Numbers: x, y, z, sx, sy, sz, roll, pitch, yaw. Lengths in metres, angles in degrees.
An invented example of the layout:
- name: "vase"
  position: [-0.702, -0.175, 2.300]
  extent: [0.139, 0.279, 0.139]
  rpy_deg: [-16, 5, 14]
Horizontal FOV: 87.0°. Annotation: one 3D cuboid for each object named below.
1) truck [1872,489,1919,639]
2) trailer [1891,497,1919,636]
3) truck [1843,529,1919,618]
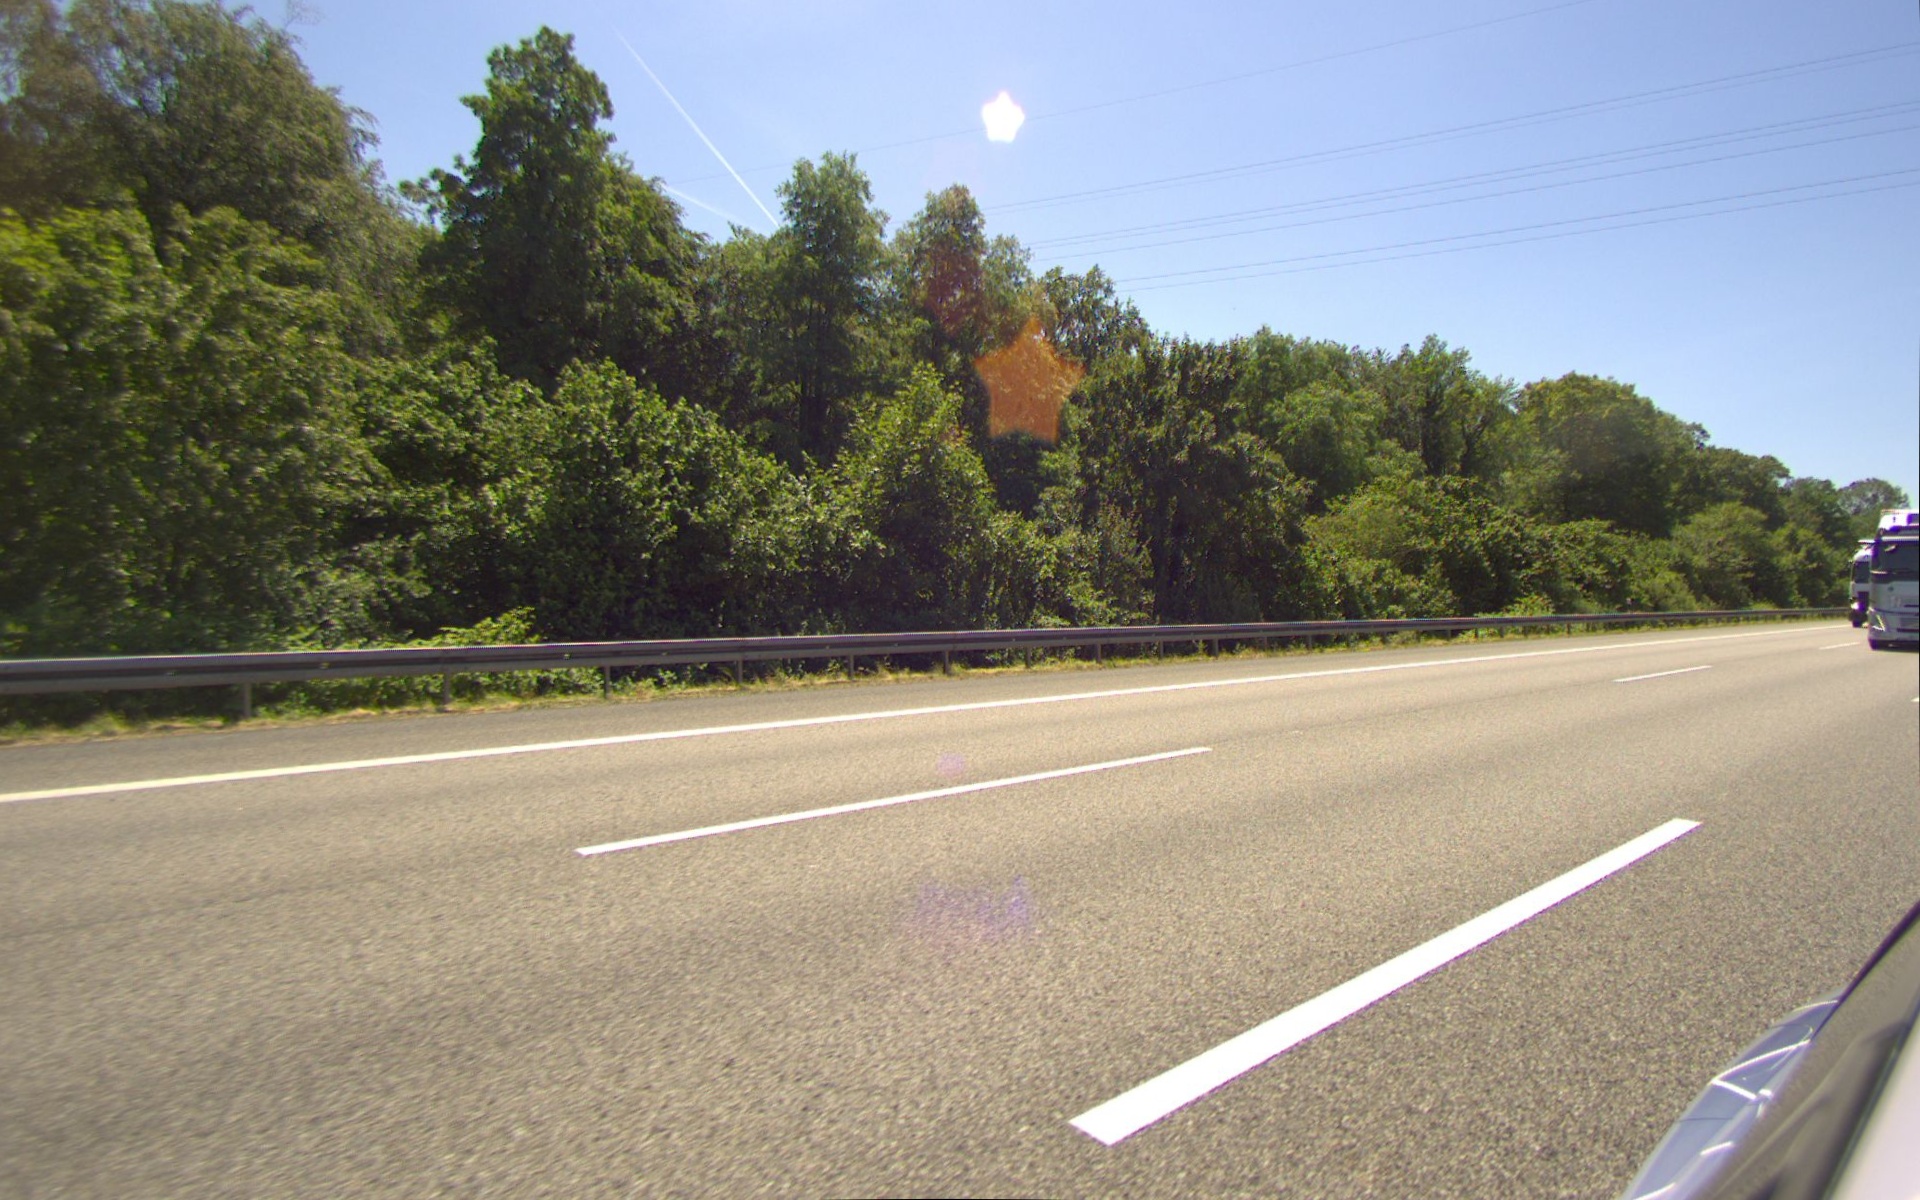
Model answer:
- name: "truck"
  position: [28.455, -0.969, 28.849]
  extent: [6.384, 4.025, 2.729]
  rpy_deg: [0, 0, -39]
- name: "trailer"
  position: [33.464, -1.000, 32.965]
  extent: [13.408, 4.025, 2.746]
  rpy_deg: [0, 0, -39]
- name: "truck"
  position: [48.341, -1.348, 51.532]
  extent: [14.200, 4.020, 3.047]
  rpy_deg: [-1, 1, -41]
